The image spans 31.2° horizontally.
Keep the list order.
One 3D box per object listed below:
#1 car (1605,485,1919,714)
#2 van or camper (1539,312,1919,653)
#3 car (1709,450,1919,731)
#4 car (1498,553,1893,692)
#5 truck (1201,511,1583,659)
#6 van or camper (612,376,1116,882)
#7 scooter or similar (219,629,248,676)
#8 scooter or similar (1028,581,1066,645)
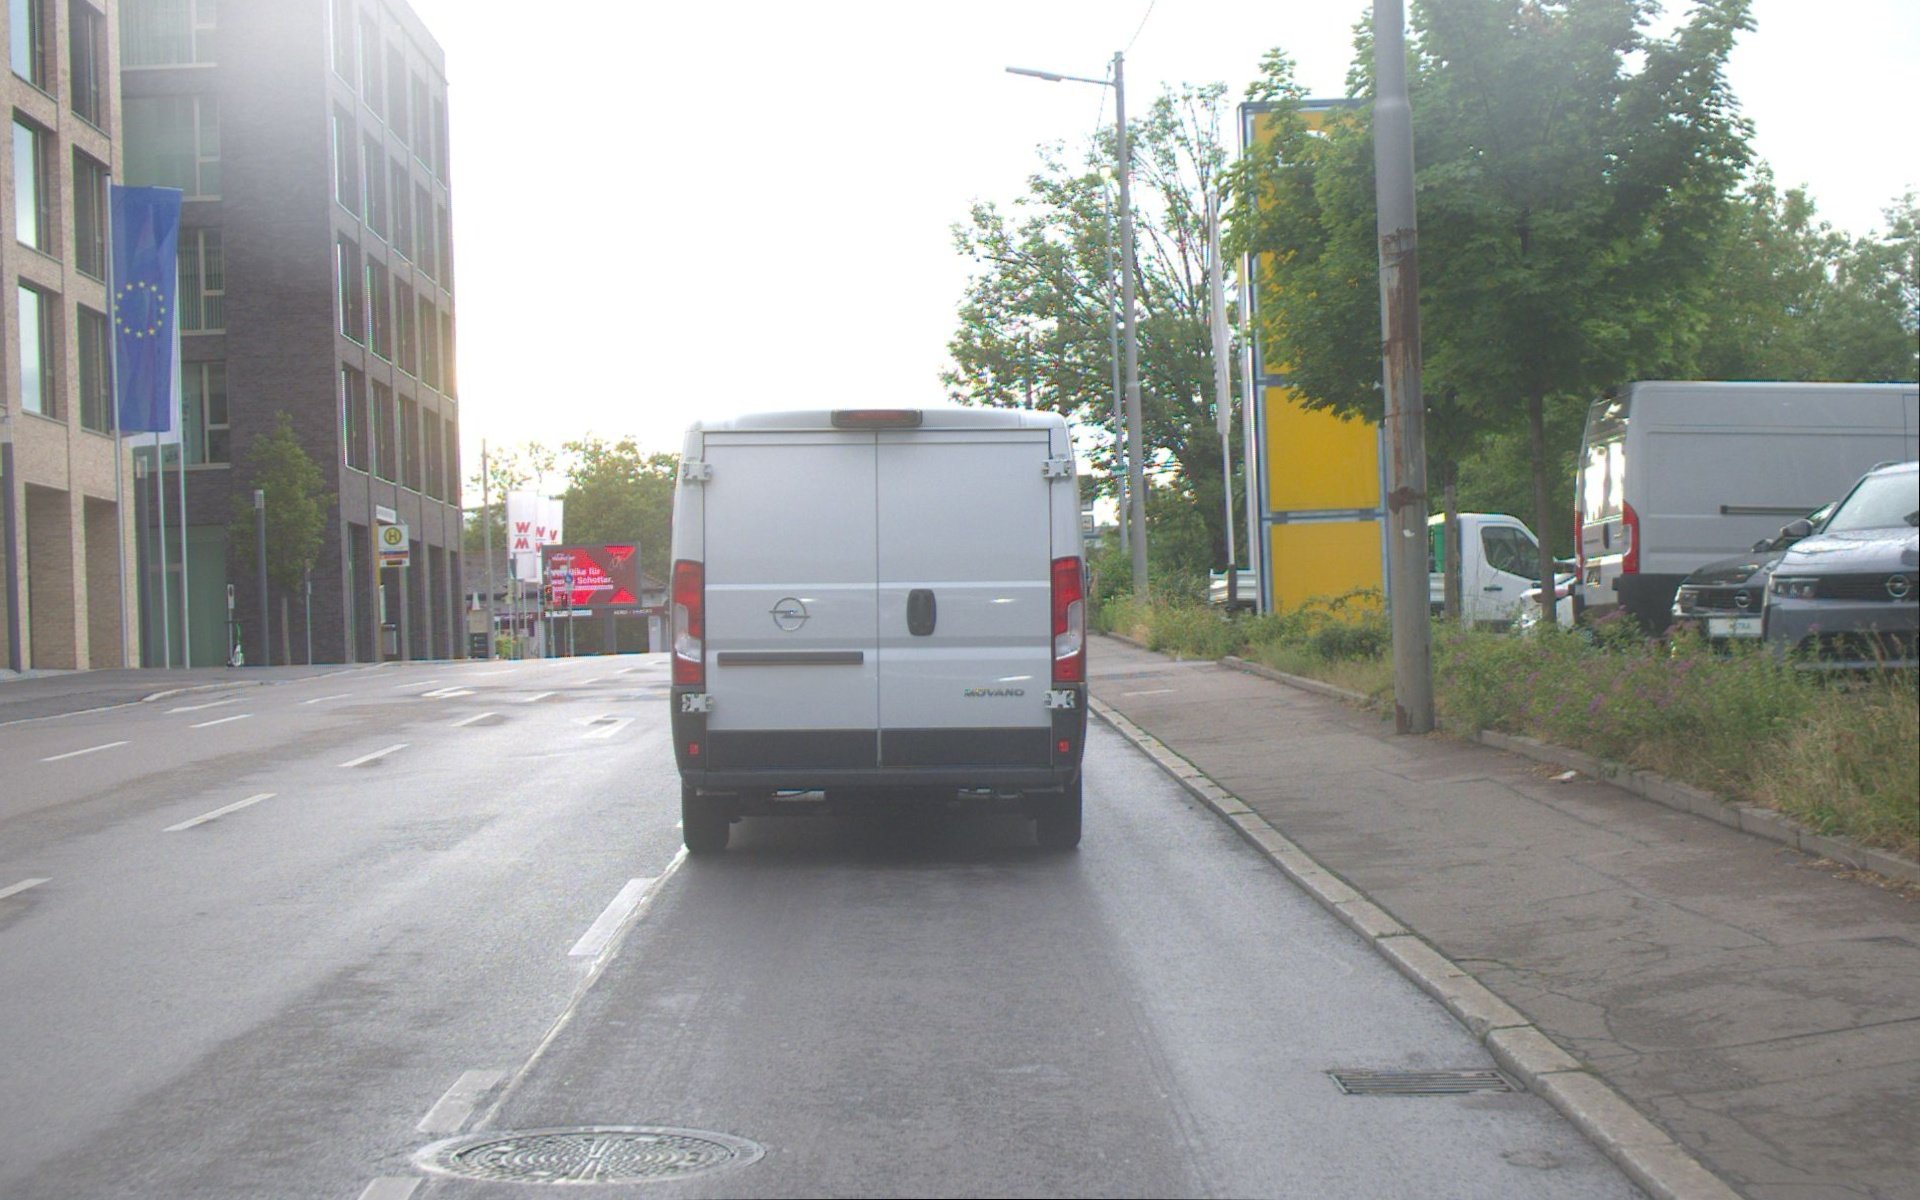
[{"bbox_3d":[6.844,-0.056,24.865,4.506,1.449,1.915,-3,-1,-43],"label":"car"},{"bbox_3d":[7.987,-0.989,29.063,5.736,2.714,2.352,-1,0,-1],"label":"van or camper"},{"bbox_3d":[6.020,-0.104,20.365,1.912,1.449,4.565,-4,-1,27],"label":"car"},{"bbox_3d":[8.188,0.235,38.536,3.987,1.423,1.895,-1,1,0],"label":"car"},{"bbox_3d":[6.219,-0.229,49.923,5.147,2.007,2.345,-1,1,-3],"label":"truck"},{"bbox_3d":[-0.450,0.114,18.818,2.340,2.349,5.199,-1,0,0],"label":"van or camper"},{"bbox_3d":[-16.532,1.198,78.241,0.351,1.068,1.428,-1,-2,0],"label":"scooter or similar"},{"bbox_3d":[2.177,0.325,86.246,0.434,1.582,1.273,-1,0,-23],"label":"scooter or similar"}]
